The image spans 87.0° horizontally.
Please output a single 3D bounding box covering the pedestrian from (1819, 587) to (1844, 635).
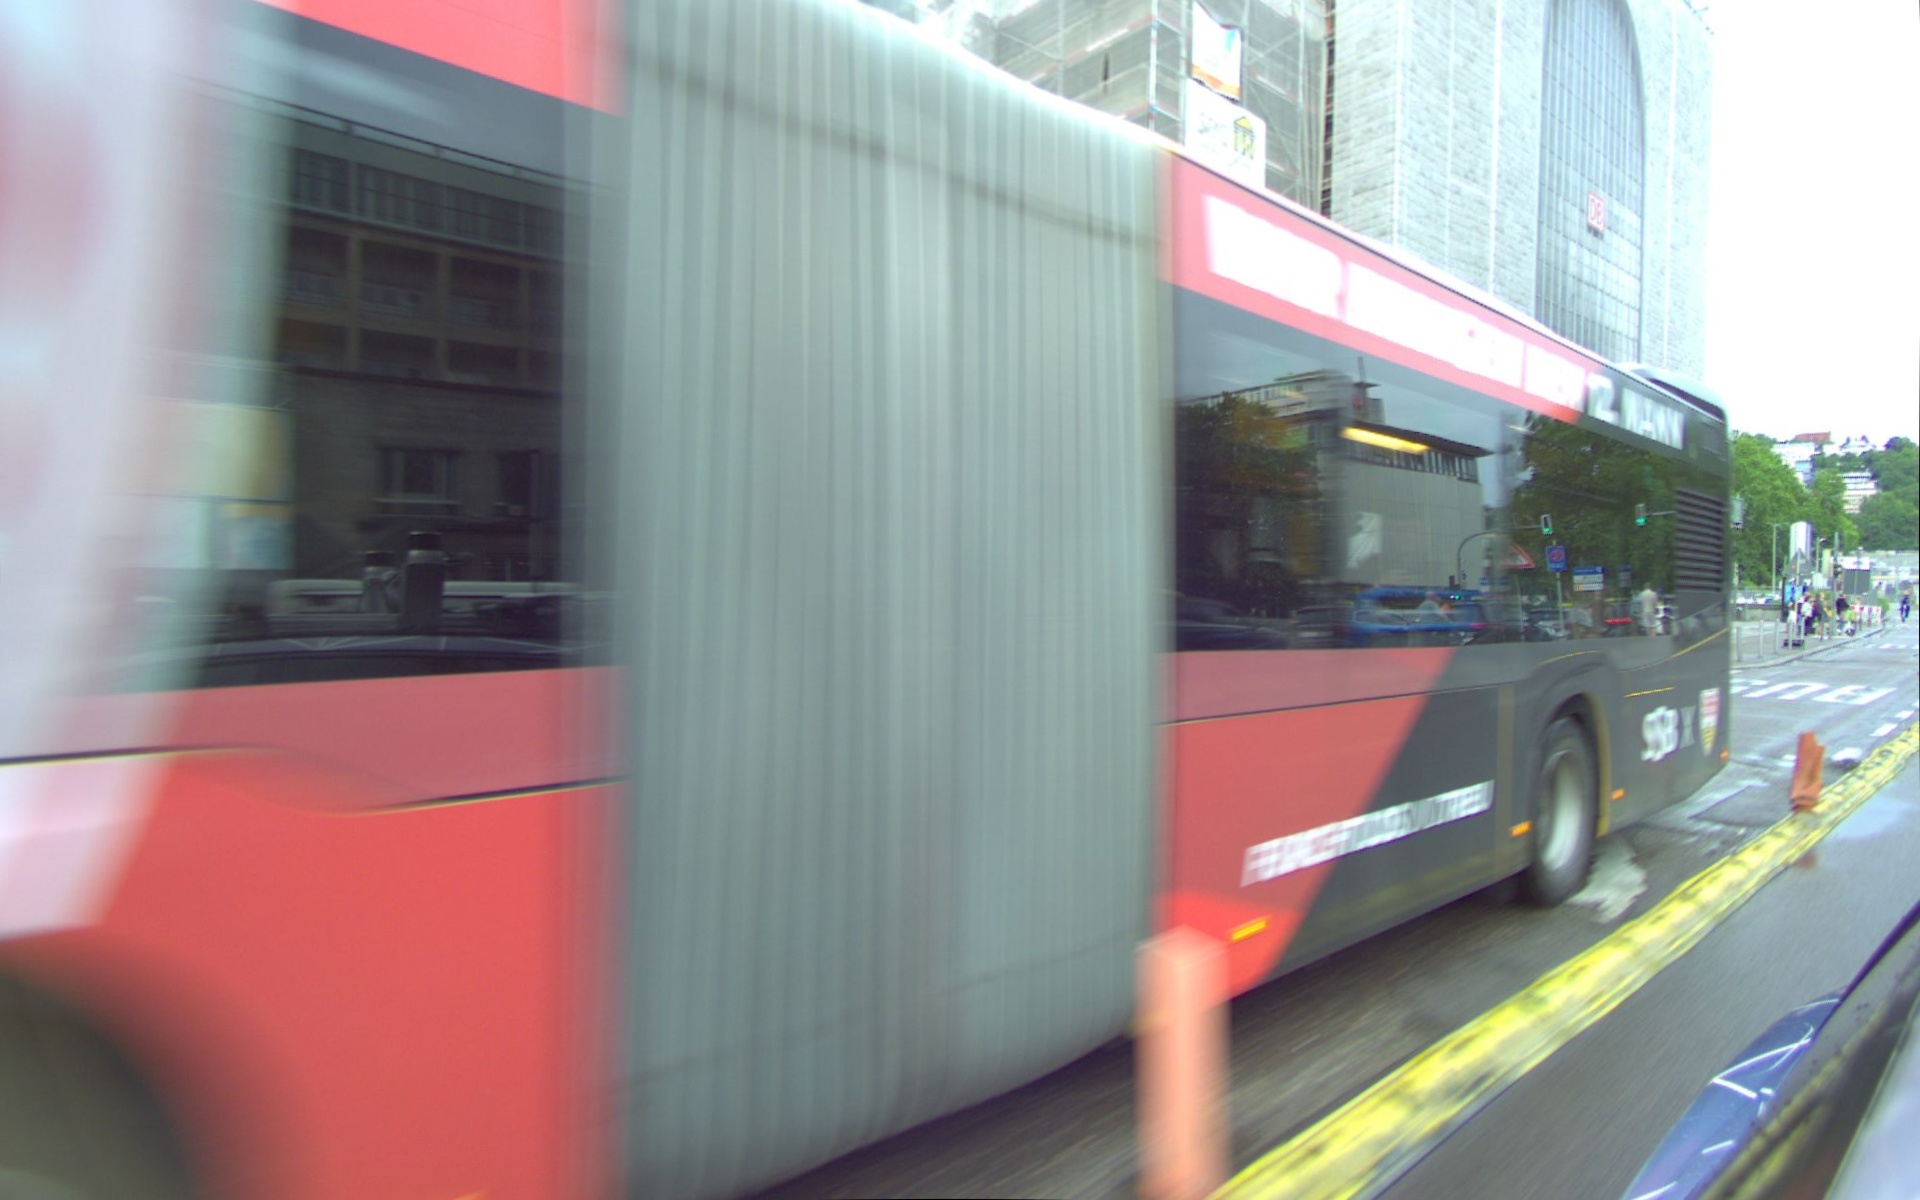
[{"bbox_3d":[33.203,0.418,38.580,0.556,1.780,0.742,4,3,36],"label":"pedestrian"}]

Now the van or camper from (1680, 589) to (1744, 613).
[{"bbox_3d":[79.285,0.076,106.795,2.342,2.432,6.060,2,1,2],"label":"van or camper"}]

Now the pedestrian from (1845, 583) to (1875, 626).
[{"bbox_3d":[37.469,0.168,42.143,0.571,1.762,0.820,0,0,6],"label":"pedestrian"}]

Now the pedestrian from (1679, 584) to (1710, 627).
[{"bbox_3d":[29.498,0.203,40.626,1.089,1.703,0.734,0,0,-39],"label":"pedestrian"}]

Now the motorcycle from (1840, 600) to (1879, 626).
[{"bbox_3d":[37.467,0.530,42.158,0.576,1.034,1.238,0,1,6],"label":"motorcycle"}]

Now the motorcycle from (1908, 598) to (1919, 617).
[{"bbox_3d":[64.606,0.483,68.356,0.728,1.244,2.127,2,0,42],"label":"motorcycle"}]

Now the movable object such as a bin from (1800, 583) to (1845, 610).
[{"bbox_3d":[50.076,-0.212,58.762,1.502,1.510,1.306,1,1,-12],"label":"movable object such as a bin"}]

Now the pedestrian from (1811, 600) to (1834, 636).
[{"bbox_3d":[35.974,0.731,42.212,0.698,1.467,0.559,0,3,-40],"label":"pedestrian"}]

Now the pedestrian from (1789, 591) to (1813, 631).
[{"bbox_3d":[35.707,0.454,42.990,0.603,1.671,0.566,1,3,-36],"label":"pedestrian"}]

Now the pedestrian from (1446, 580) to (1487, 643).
[{"bbox_3d":[12.865,0.280,25.709,0.653,1.558,0.653,0,3,-40],"label":"pedestrian"}]

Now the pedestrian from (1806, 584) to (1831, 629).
[{"bbox_3d":[34.719,0.242,40.943,0.698,1.773,0.559,0,3,-40],"label":"pedestrian"}]

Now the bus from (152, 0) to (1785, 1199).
[{"bbox_3d":[1.513,-0.049,5.293,8.920,3.107,2.760,-1,0,-40],"label":"bus"}]

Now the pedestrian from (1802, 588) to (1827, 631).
[{"bbox_3d":[33.875,0.382,40.111,0.738,1.661,0.559,0,3,-40],"label":"pedestrian"}]

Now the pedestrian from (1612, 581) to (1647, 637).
[{"bbox_3d":[20.386,0.271,30.805,0.978,1.652,0.550,0,3,-41],"label":"pedestrian"}]

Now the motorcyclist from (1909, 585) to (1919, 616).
[{"bbox_3d":[64.667,0.057,68.399,0.724,2.062,0.578,2,0,43],"label":"motorcyclist"}]

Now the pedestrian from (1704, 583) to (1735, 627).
[{"bbox_3d":[30.047,0.191,40.025,0.941,1.698,0.737,0,3,-42],"label":"pedestrian"}]
